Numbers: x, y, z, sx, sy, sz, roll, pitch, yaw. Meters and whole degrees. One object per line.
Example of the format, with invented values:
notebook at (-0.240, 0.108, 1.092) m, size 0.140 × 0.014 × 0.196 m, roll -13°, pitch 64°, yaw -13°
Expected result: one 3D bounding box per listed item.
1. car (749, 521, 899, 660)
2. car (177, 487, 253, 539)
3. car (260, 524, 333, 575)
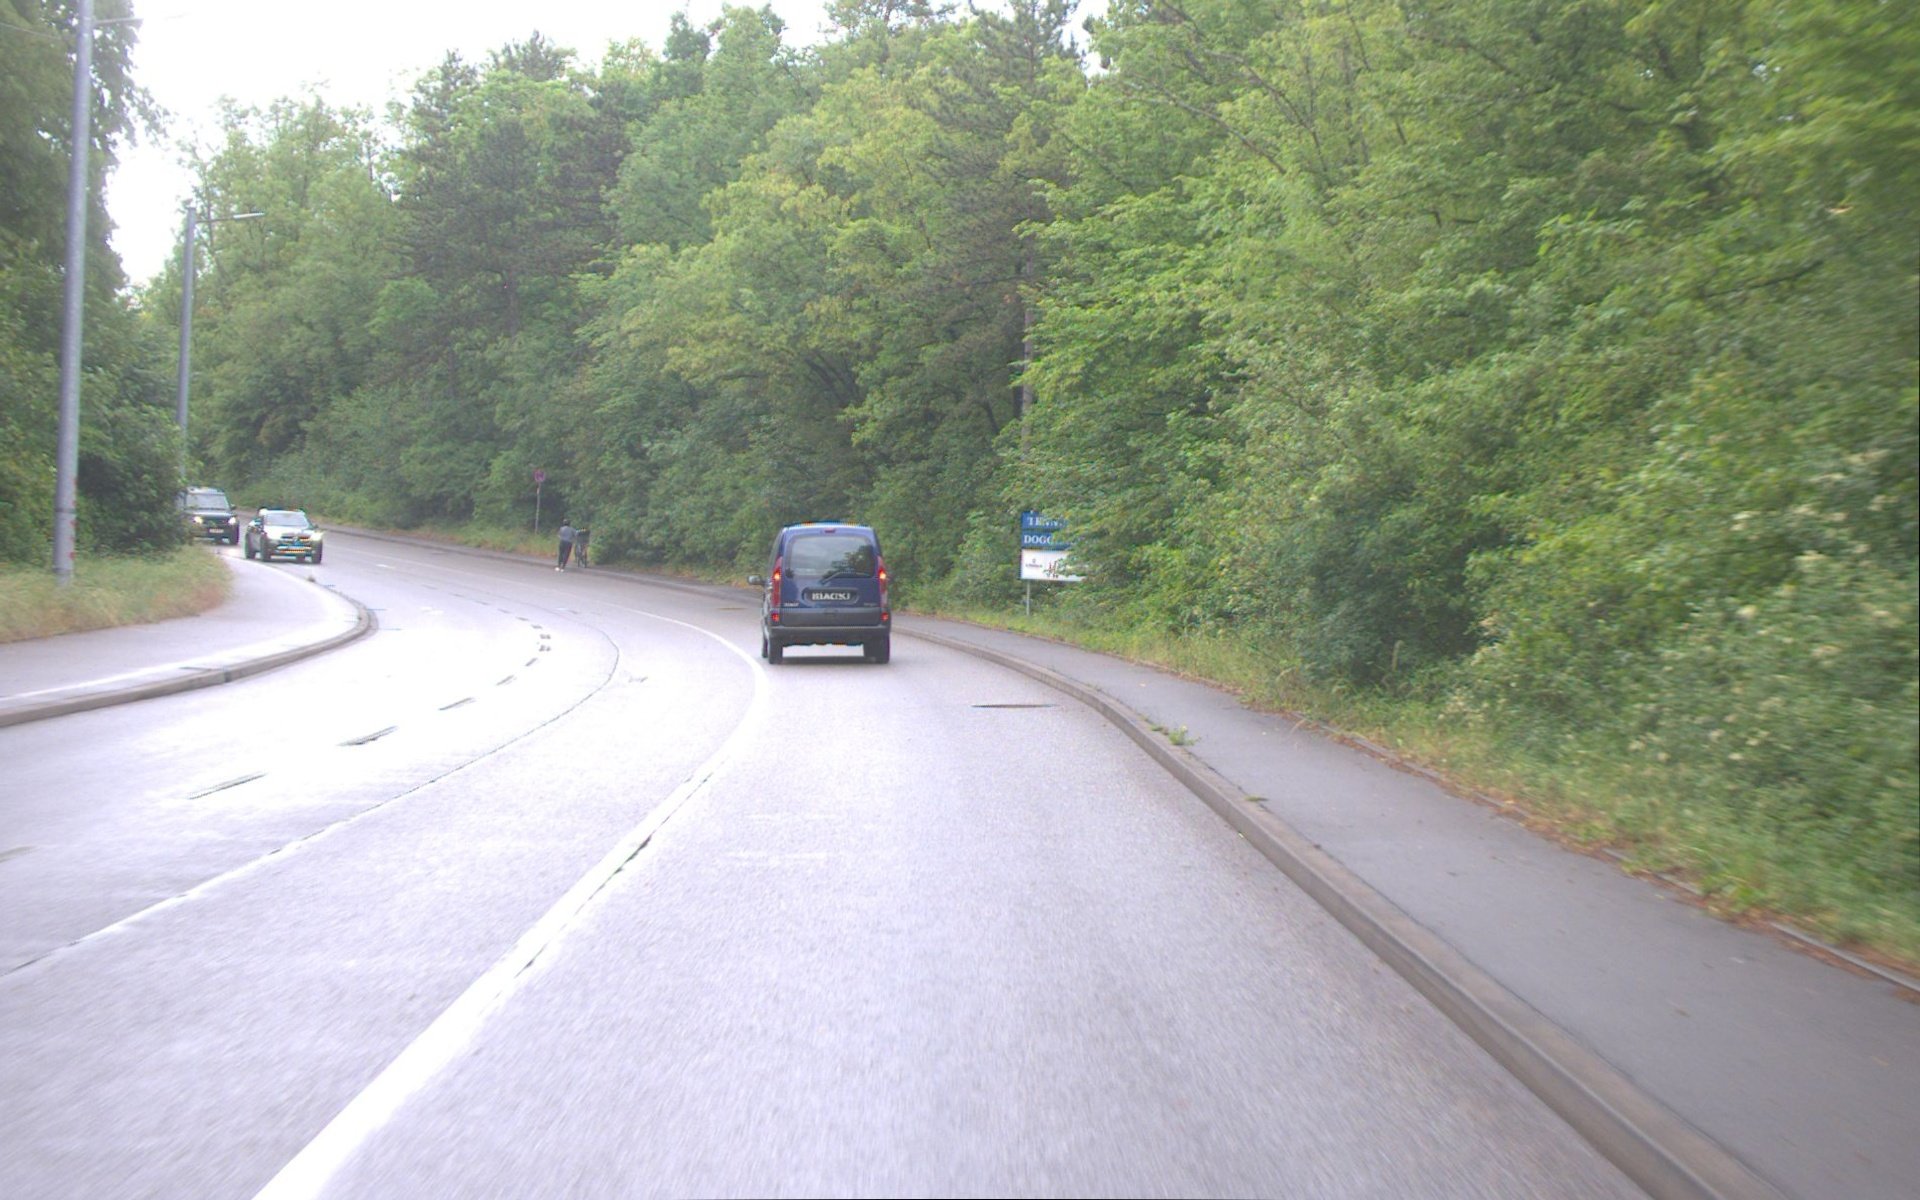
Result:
car at (-1.888, -0.169, 46.675) m, size 1.827 × 1.787 × 4.001 m, roll 0°, pitch 1°, yaw -5°
car at (-26.916, -3.137, 124.191) m, size 1.826 × 1.836 × 4.712 m, roll 1°, pitch 1°, yaw -23°
car at (-21.528, -1.654, 111.459) m, size 1.808 × 1.589 × 4.519 m, roll 1°, pitch 1°, yaw -17°
